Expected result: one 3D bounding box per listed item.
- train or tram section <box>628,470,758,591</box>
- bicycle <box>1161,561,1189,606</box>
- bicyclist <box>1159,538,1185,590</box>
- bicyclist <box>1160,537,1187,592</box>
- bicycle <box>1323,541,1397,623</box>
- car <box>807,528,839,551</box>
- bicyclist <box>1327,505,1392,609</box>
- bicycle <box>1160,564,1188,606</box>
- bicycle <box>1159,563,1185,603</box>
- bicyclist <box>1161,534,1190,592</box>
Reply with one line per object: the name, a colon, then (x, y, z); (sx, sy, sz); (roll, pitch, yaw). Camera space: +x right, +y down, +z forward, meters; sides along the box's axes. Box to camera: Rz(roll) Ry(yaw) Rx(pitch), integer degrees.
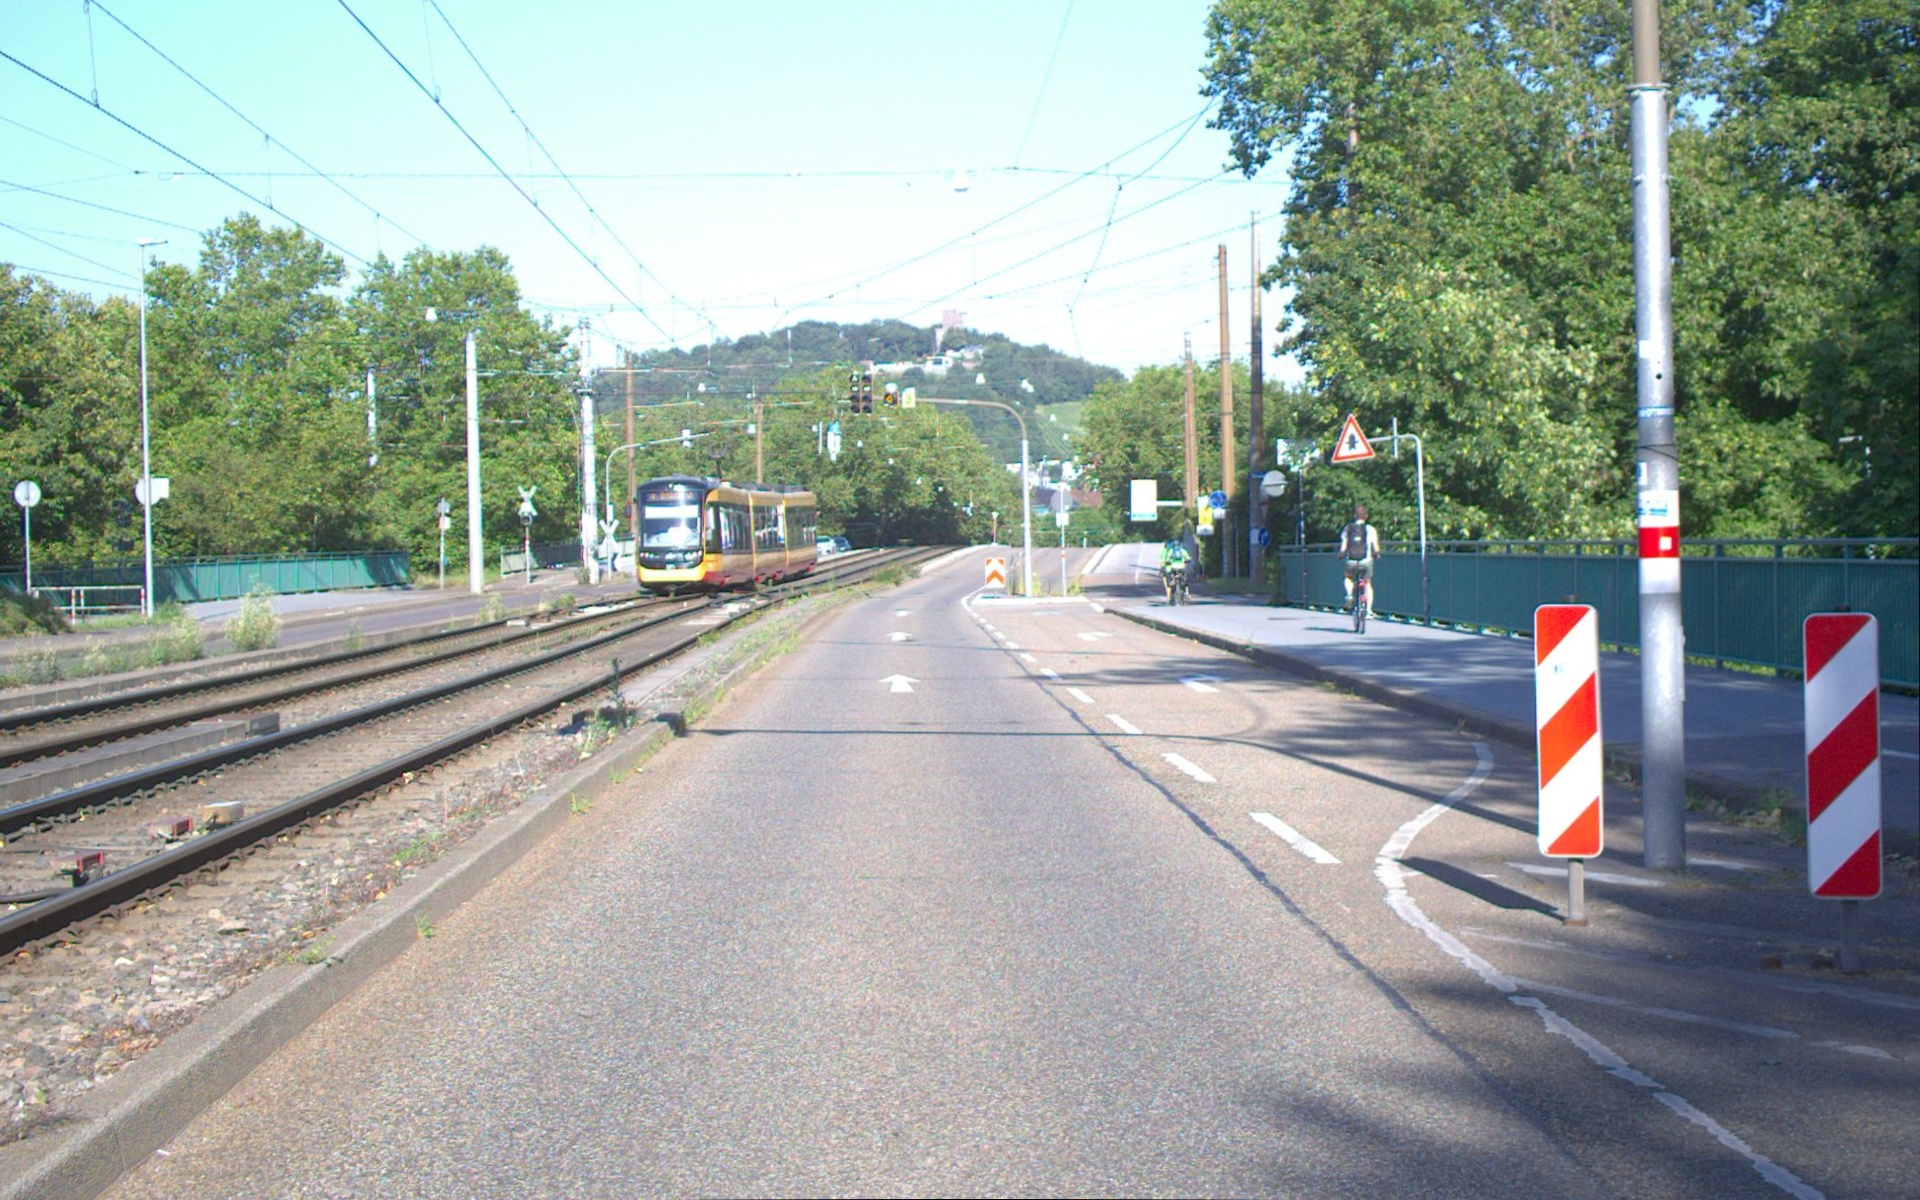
train or tram section: (-8.221, -2.175, 107.182); (2.644, 3.554, 10.832); (-1, 1, 3)
bicycle: (5.195, -0.405, 82.994); (0.515, 1.038, 1.975); (-1, 1, -1)
bicyclist: (5.627, -0.956, 91.235); (0.604, 1.374, 0.975); (-1, 1, -1)
bicyclist: (5.455, -0.909, 87.835); (0.604, 1.374, 0.975); (-1, 1, -1)
bicycle: (5.920, -0.282, 50.951); (0.727, 1.172, 2.695); (-1, 1, -1)
car: (-9.041, -4.006, 226.992); (1.950, 1.481, 4.000); (-1, 1, -1)
bicyclist: (5.916, -0.642, 50.914); (0.824, 1.515, 0.975); (-1, 1, -1)
bicycle: (5.461, -0.401, 87.841); (0.539, 1.038, 1.975); (-1, 1, -1)
bicycle: (5.627, -0.451, 91.179); (0.539, 1.038, 1.975); (-1, 1, -1)
bicyclist: (5.187, -0.900, 82.869); (0.604, 1.374, 0.975); (-1, 1, -1)
